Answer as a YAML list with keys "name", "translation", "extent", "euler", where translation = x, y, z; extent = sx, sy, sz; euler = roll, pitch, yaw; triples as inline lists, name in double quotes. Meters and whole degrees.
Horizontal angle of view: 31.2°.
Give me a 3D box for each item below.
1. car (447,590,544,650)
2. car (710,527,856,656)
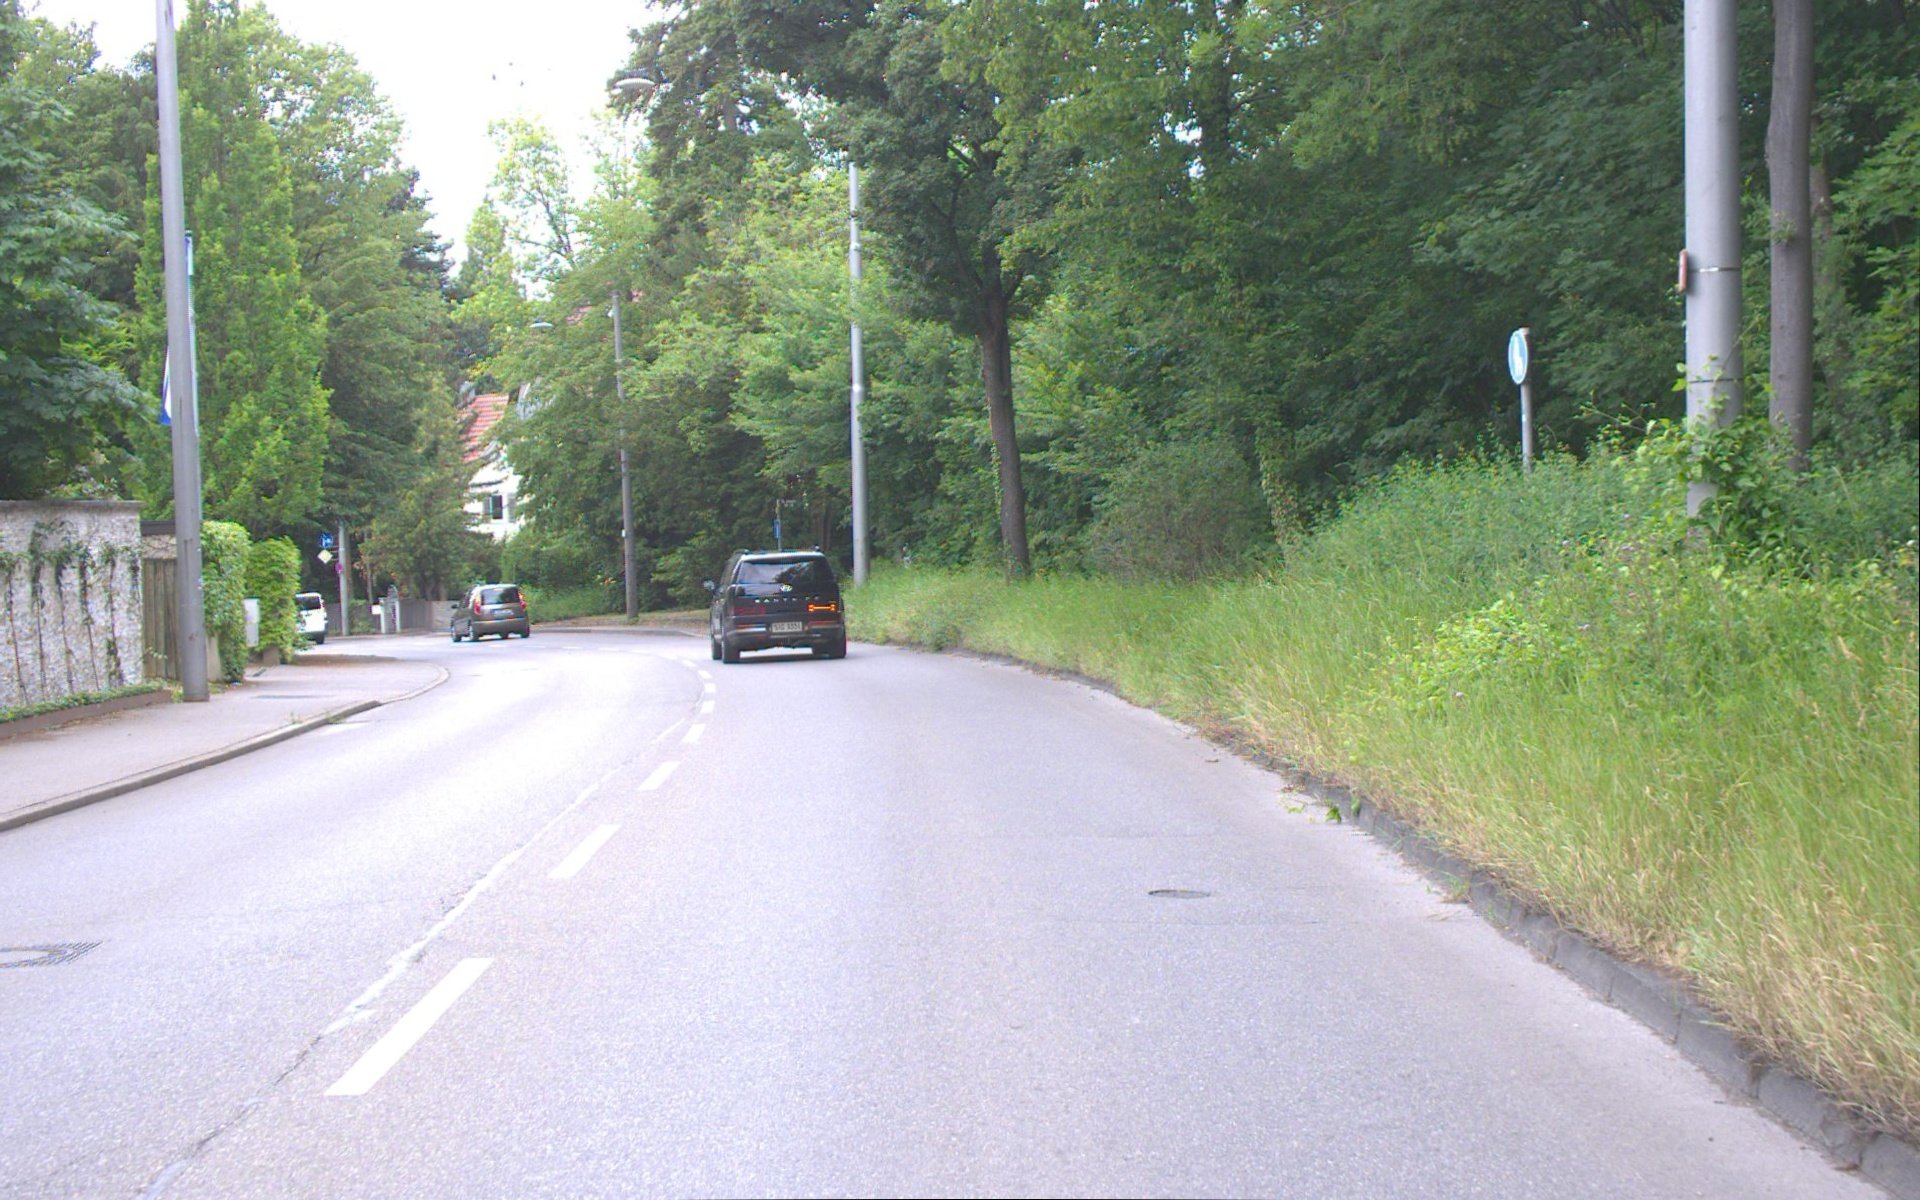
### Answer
- name: "car"
  translation: [-13.523, 0.564, 99.858]
  extent: [1.993, 1.612, 4.001]
  euler: [-3, 1, -19]
- name: "car"
  translation: [-2.821, -0.166, 54.003]
  extent: [1.993, 1.875, 4.001]
  euler: [-2, 1, -6]
